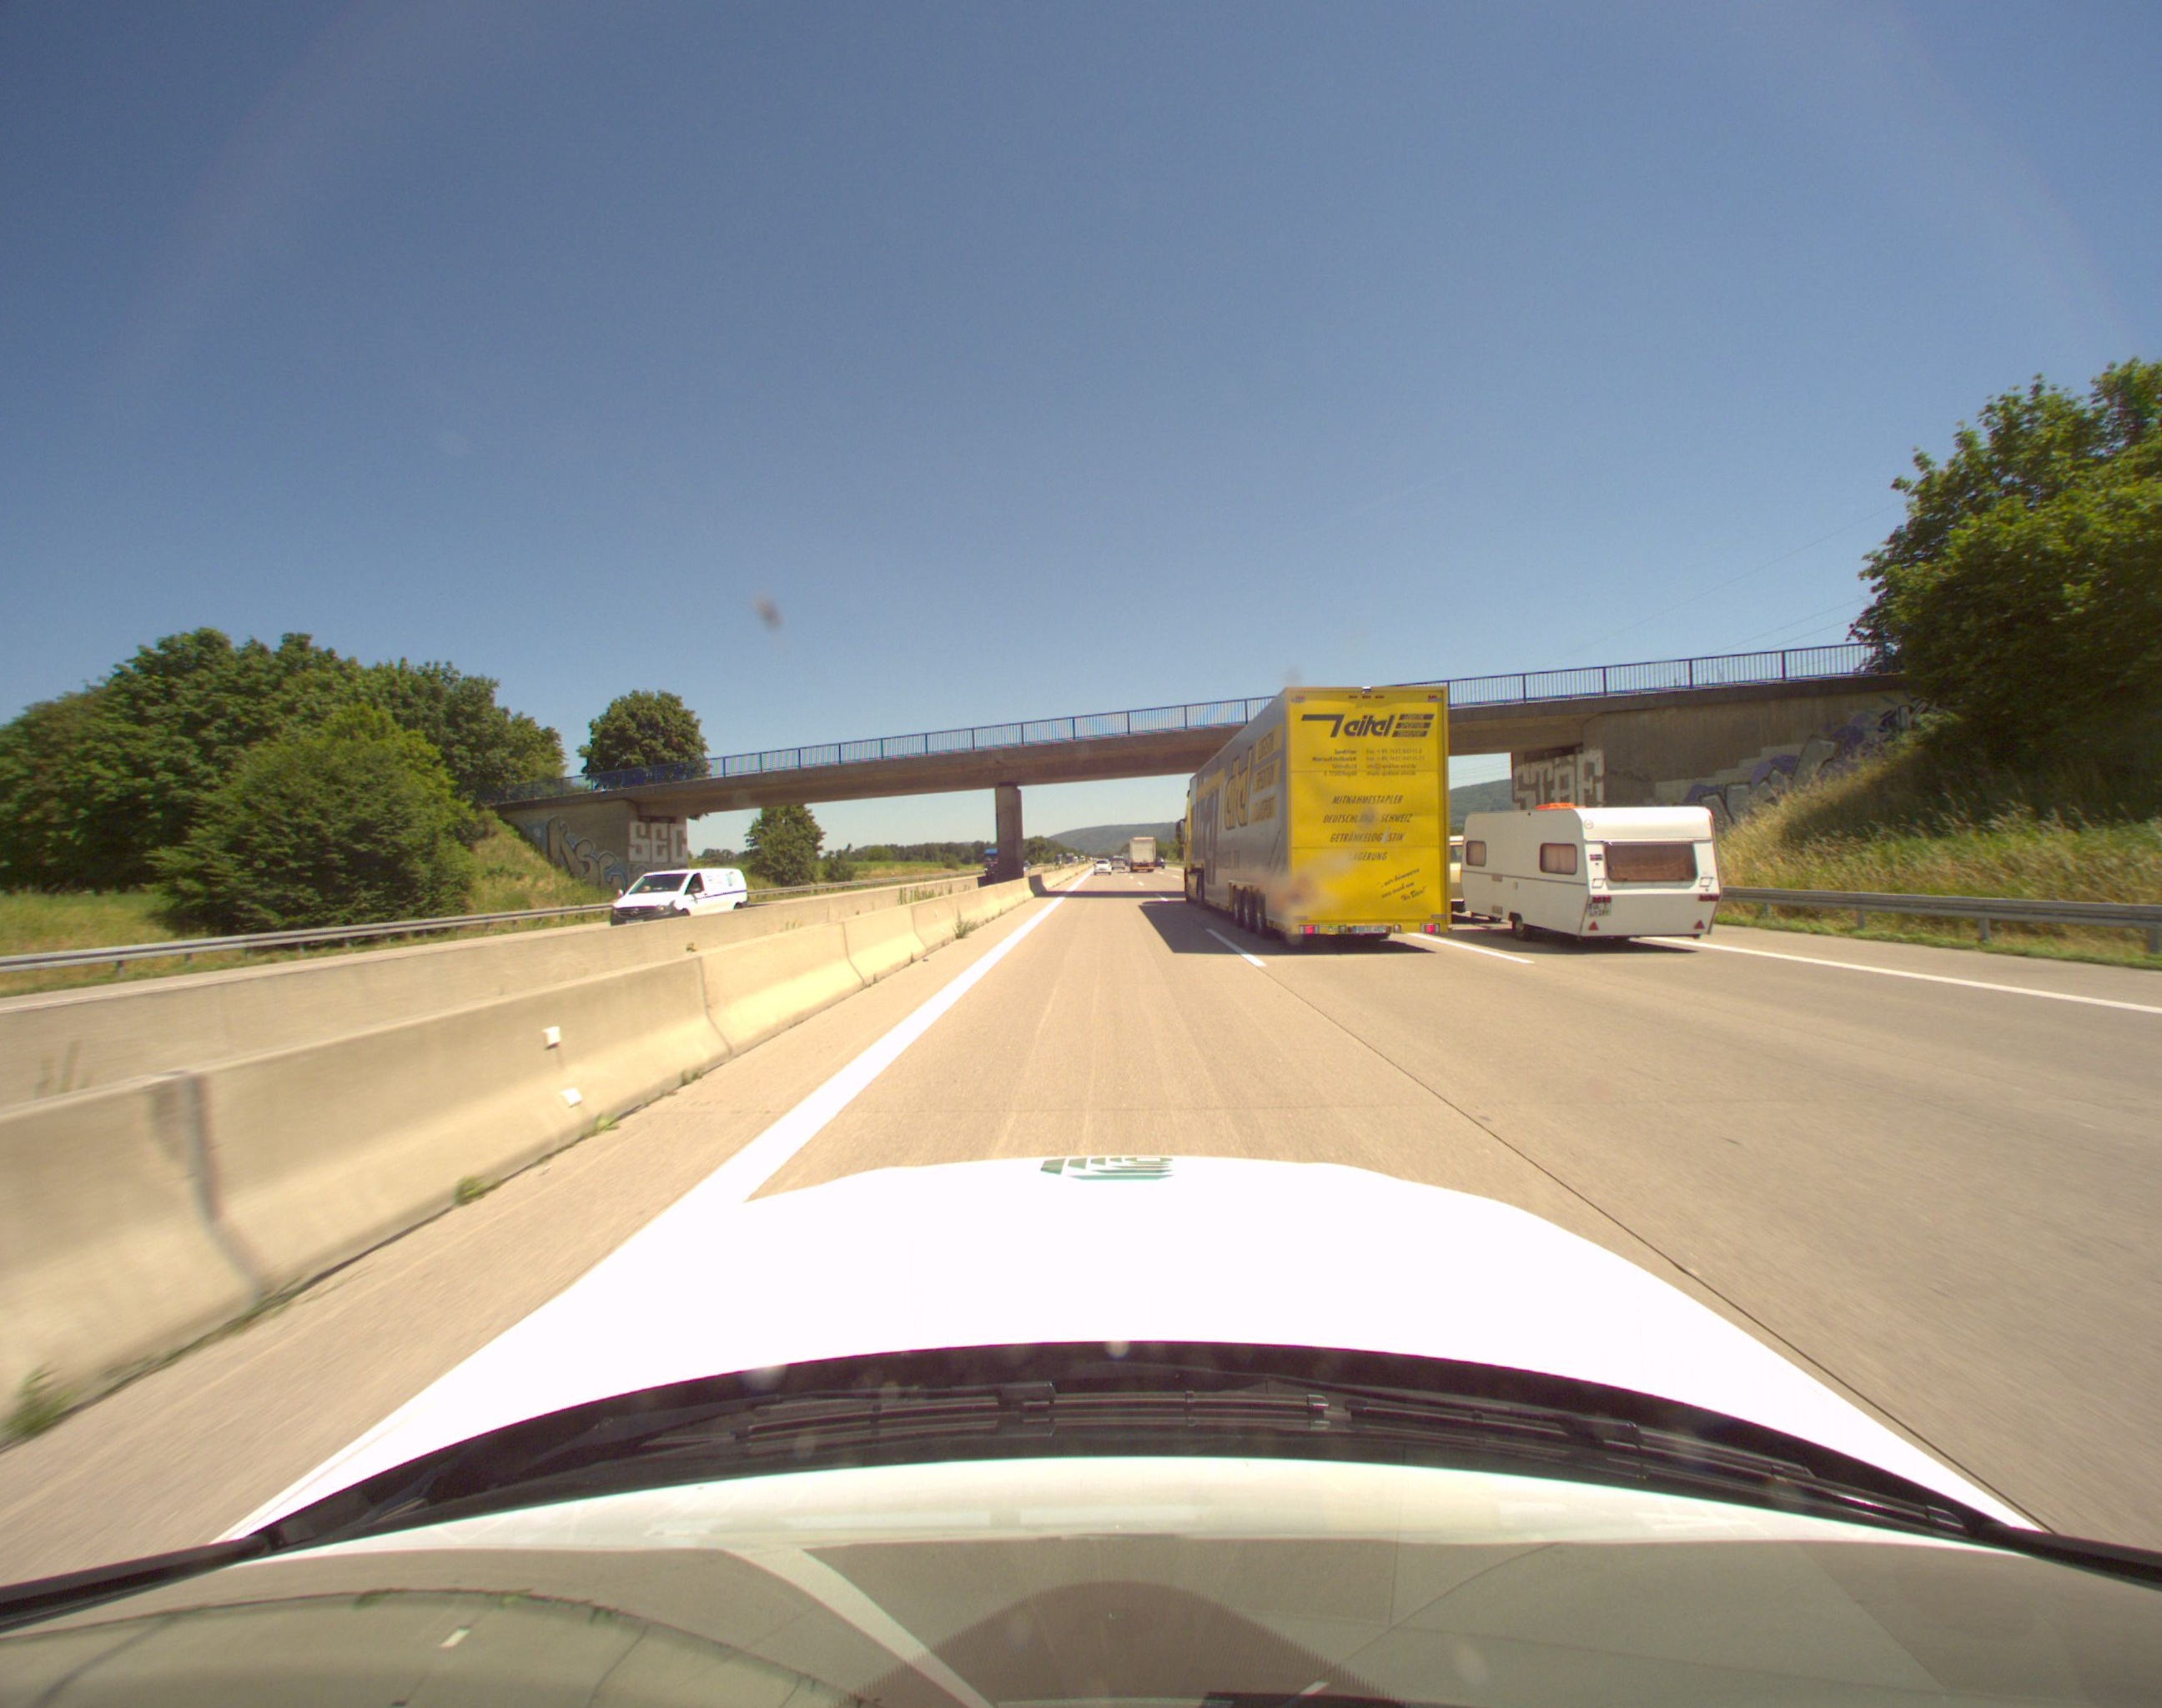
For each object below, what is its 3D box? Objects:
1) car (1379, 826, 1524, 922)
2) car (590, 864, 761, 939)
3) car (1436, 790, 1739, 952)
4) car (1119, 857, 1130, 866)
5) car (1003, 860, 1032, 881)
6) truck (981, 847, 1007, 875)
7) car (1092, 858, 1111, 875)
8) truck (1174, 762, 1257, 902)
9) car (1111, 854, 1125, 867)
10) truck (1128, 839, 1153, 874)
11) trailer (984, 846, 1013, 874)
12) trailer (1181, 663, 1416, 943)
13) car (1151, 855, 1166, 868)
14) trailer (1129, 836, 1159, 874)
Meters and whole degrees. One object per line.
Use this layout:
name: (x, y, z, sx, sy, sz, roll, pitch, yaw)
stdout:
car: (8.588, 0.442, 19.274, 1.777, 2.014, 3.821, 0, -1, 2)
car: (-12.268, 1.335, 25.230, 2.244, 1.958, 5.686, -2, -1, 1)
car: (8.553, 0.268, 14.592, 2.126, 2.347, 5.518, 0, -1, 2)
car: (8.848, 1.541, 165.596, 1.986, 1.849, 4.001, 1, -1, 1)
car: (-6.521, 1.664, 84.251, 2.297, 2.014, 5.657, 0, -1, 2)
truck: (-13.212, 1.021, 124.596, 2.970, 4.090, 6.467, -1, -1, 2)
car: (2.038, 1.226, 80.844, 1.813, 1.662, 4.000, -1, -1, 0)
truck: (4.392, -0.654, 27.331, 1.986, 4.254, 5.195, 0, -1, 1)
car: (5.442, 0.968, 119.349, 1.986, 1.849, 4.001, 0, -1, 1)
truck: (6.816, 0.263, 93.546, 2.572, 3.878, 4.984, 0, -1, 1)
trailer: (-13.062, 0.998, 130.056, 2.970, 4.090, 11.609, -3, -1, 2)
trailer: (4.242, -0.721, 20.025, 1.986, 4.254, 15.201, 0, 0, 1)
car: (11.588, 1.112, 122.305, 1.986, 1.849, 4.001, 1, -1, 1)
trailer: (6.756, 0.180, 88.144, 2.572, 3.878, 10.374, 0, -1, 1)
